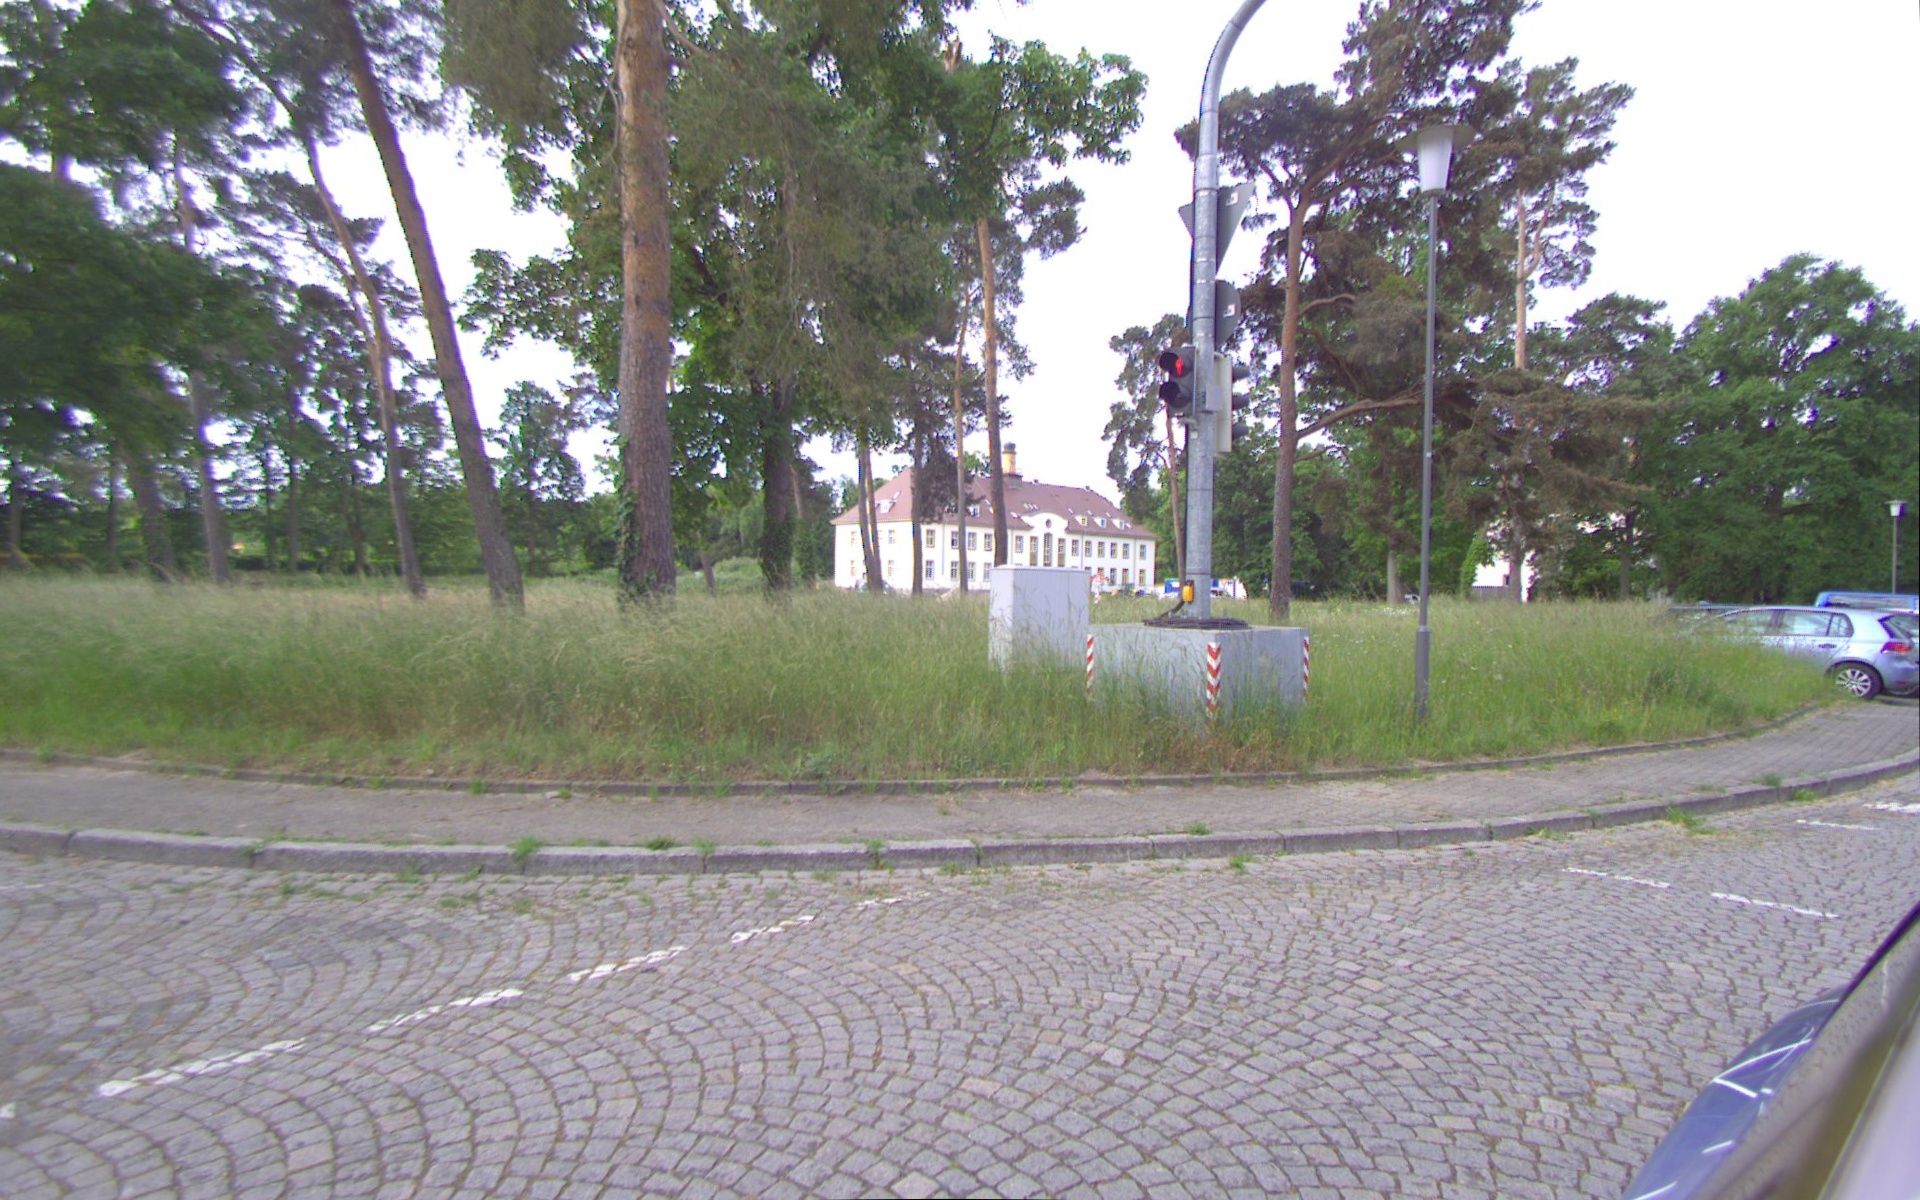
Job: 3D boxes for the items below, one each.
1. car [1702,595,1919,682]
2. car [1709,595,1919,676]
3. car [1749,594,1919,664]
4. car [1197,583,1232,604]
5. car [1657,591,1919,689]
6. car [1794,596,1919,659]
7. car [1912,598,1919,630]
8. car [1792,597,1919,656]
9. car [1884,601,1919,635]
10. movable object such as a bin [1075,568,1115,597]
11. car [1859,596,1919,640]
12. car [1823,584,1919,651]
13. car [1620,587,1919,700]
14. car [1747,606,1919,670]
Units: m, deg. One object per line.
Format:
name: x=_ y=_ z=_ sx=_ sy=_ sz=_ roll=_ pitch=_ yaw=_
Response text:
car: x=17.710 y=0.733 z=20.294 sx=1.686 sy=1.492 sz=4.248 roll=1 pitch=2 yaw=-39
car: x=19.238 y=0.733 z=22.243 sx=1.687 sy=1.500 sz=4.181 roll=1 pitch=2 yaw=-41
car: x=22.671 y=0.701 z=25.565 sx=1.571 sy=1.535 sz=4.051 roll=1 pitch=2 yaw=-39
car: x=29.682 y=-0.782 z=118.061 sx=4.371 sy=2.394 sz=1.860 roll=0 pitch=0 yaw=-42
car: x=15.653 y=0.692 z=18.549 sx=1.636 sy=1.400 sz=4.435 roll=1 pitch=4 yaw=-43
car: x=25.095 y=0.750 z=27.012 sx=1.669 sy=1.535 sz=4.098 roll=1 pitch=2 yaw=-39
car: x=52.348 y=0.827 z=52.428 sx=1.693 sy=1.716 sz=4.089 roll=1 pitch=2 yaw=-34
car: x=26.893 y=0.766 z=29.316 sx=1.571 sy=1.535 sz=4.051 roll=1 pitch=2 yaw=-39
car: x=44.684 y=0.888 z=45.740 sx=1.696 sy=1.462 sz=4.083 roll=1 pitch=2 yaw=-40
movable object such as a bin: x=17.908 y=-2.303 z=134.736 sx=2.015 sy=3.817 sz=5.459 roll=0 pitch=0 yaw=-38
car: x=37.329 y=0.737 z=38.754 sx=1.624 sy=1.613 sz=4.084 roll=1 pitch=2 yaw=-39
car: x=31.058 y=0.593 z=32.643 sx=1.878 sy=2.030 sz=4.602 roll=0 pitch=2 yaw=-40
car: x=13.639 y=0.632 z=16.929 sx=1.669 sy=1.446 sz=4.007 roll=1 pitch=4 yaw=-43
car: x=20.993 y=0.862 z=23.499 sx=1.522 sy=1.255 sz=4.048 roll=1 pitch=2 yaw=-41
